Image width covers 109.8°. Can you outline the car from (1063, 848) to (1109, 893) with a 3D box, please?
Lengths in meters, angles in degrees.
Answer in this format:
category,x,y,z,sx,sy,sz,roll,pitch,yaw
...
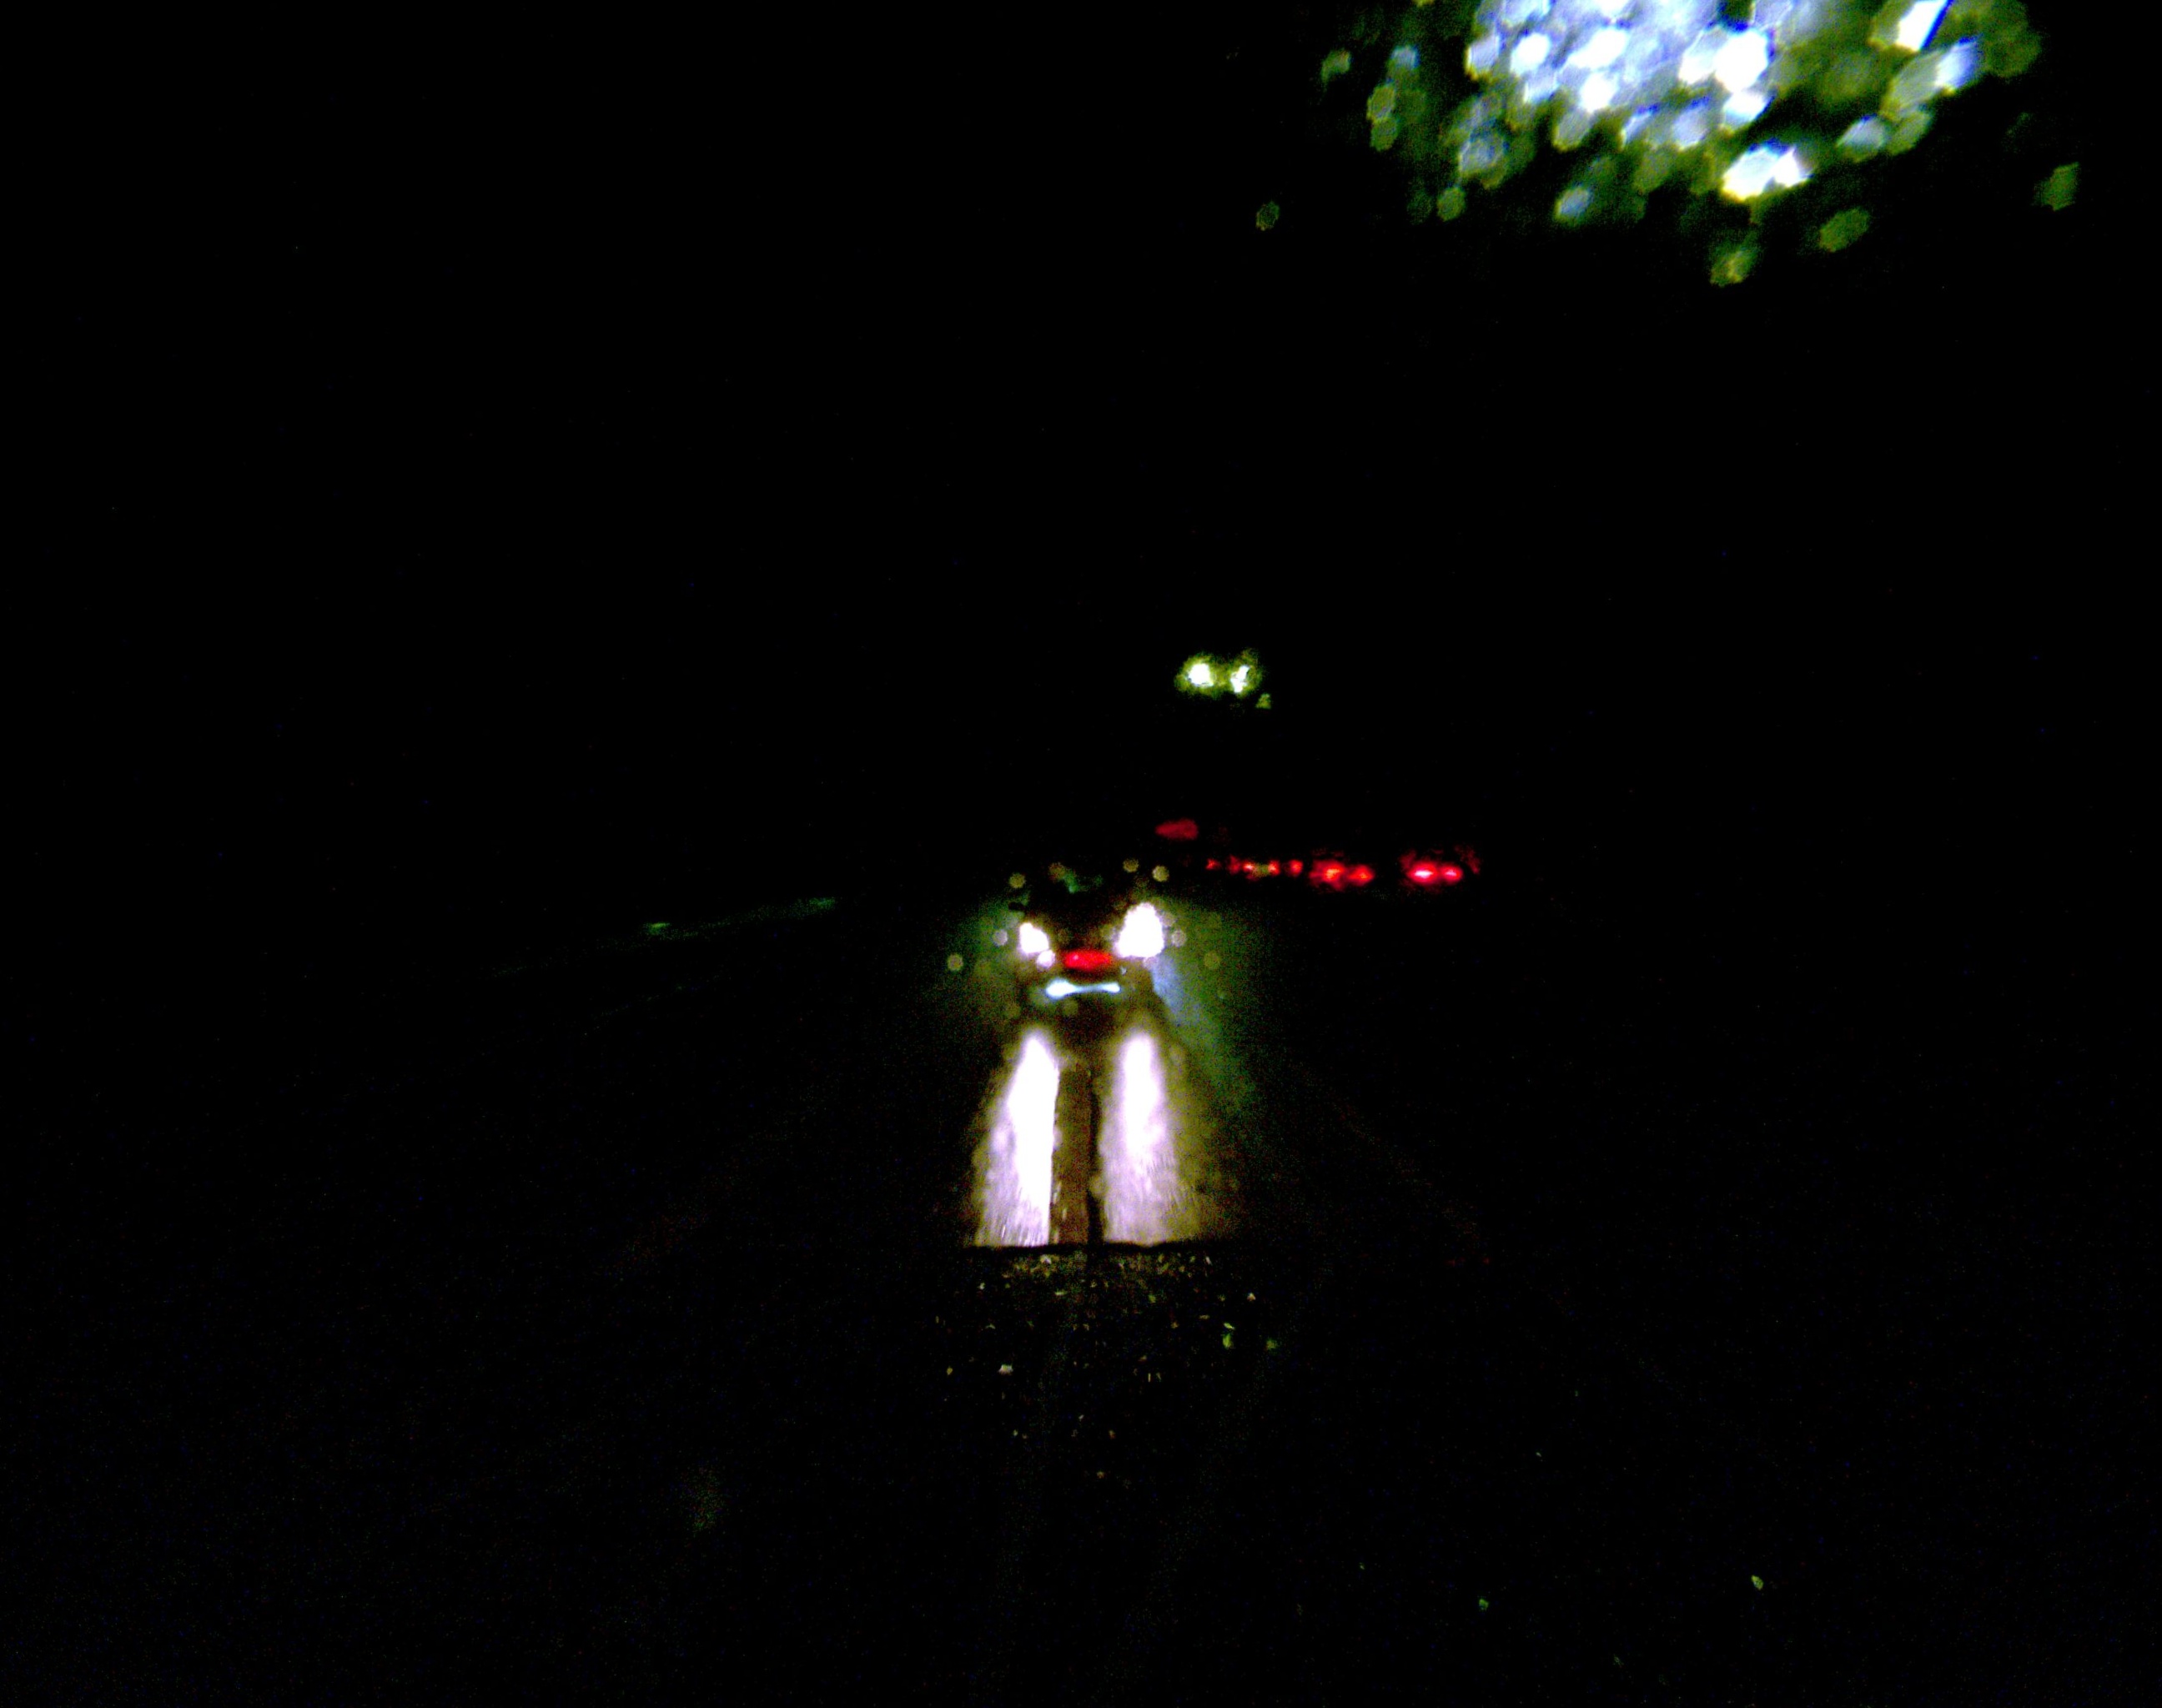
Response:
category,x,y,z,sx,sy,sz,roll,pitch,yaw
car,0.180,0.659,32.828,1.784,1.696,3.998,-3,1,-1

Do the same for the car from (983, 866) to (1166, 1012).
category,x,y,z,sx,sy,sz,roll,pitch,yaw
car,0.085,0.924,9.923,1.848,1.440,4.002,-3,-1,5

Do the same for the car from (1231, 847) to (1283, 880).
category,x,y,z,sx,sy,sz,roll,pitch,yaw
car,10.820,0.537,47.121,1.999,1.764,4.703,-3,1,-1

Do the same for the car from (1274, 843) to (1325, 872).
category,x,y,z,sx,sy,sz,roll,pitch,yaw
car,15.096,0.199,52.749,1.999,1.764,4.703,-3,1,-1

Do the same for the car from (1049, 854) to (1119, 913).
category,x,y,z,sx,sy,sz,roll,pitch,yaw
car,0.105,0.820,22.832,1.849,1.441,3.874,-3,1,1

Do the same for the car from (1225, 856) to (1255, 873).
category,x,y,z,sx,sy,sz,roll,pitch,yaw
car,16.697,1.123,80.061,2.028,1.494,4.895,-3,1,0

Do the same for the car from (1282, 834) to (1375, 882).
category,x,y,z,sx,sy,sz,roll,pitch,yaw
car,10.163,0.107,31.607,2.170,1.764,4.703,-3,1,-1

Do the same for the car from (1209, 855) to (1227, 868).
category,x,y,z,sx,sy,sz,roll,pitch,yaw
car,17.970,0.925,99.852,1.604,1.543,3.833,-3,1,1

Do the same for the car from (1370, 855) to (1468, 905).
category,x,y,z,sx,sy,sz,roll,pitch,yaw
car,14.474,1.052,32.848,1.999,1.764,4.703,-3,1,-1
